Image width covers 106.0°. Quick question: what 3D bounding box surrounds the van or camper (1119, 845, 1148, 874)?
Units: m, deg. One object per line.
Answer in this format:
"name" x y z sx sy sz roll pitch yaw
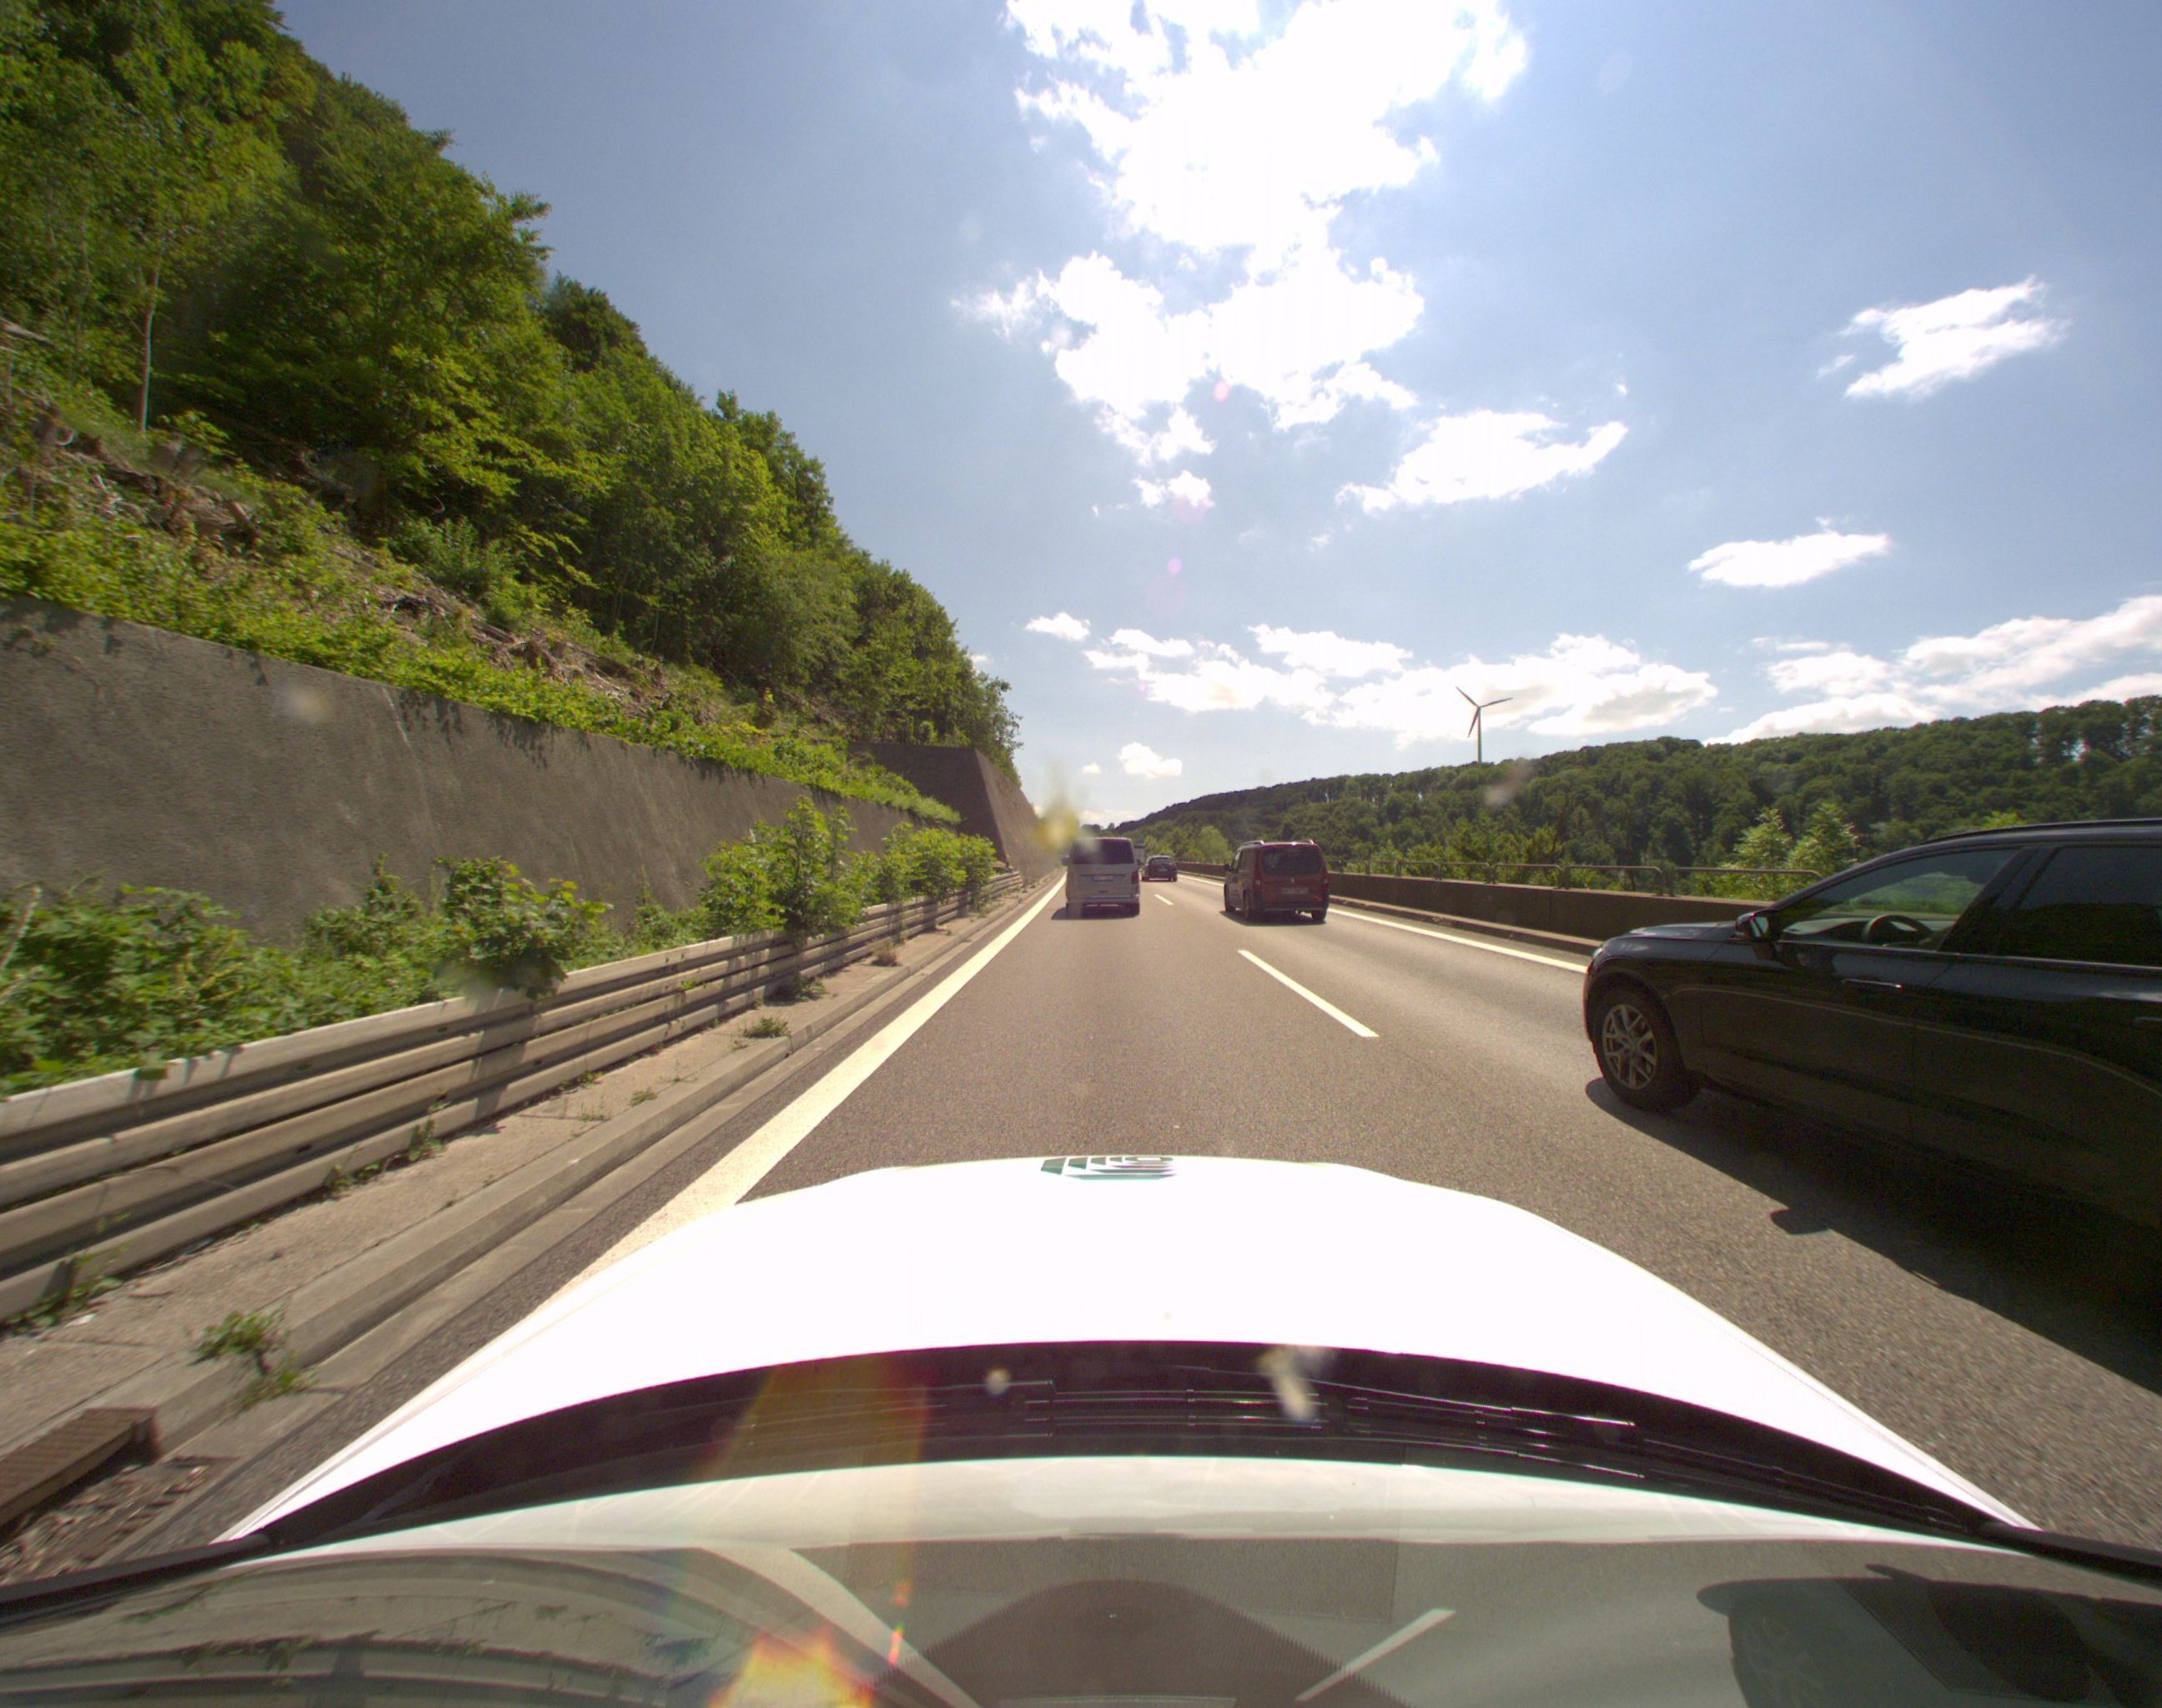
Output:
"van or camper" 4.774 0.501 75.220 2.257 2.551 4.735 -2 0 -1

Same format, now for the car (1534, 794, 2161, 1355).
"car" 4.086 0.645 3.450 1.828 1.633 4.663 0 0 1

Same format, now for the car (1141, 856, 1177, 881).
"car" 4.425 0.812 46.520 1.762 1.375 3.593 -1 0 1

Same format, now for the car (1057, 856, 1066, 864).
"car" -4.334 1.288 184.145 1.839 1.750 4.000 -1 0 0

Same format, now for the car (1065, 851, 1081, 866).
"car" -1.035 0.575 105.503 1.989 1.915 3.996 -1 0 -3

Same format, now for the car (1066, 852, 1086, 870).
"car" -0.567 0.725 86.609 1.989 1.817 3.996 0 0 -2

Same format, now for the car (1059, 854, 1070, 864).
"car" -3.359 1.082 165.275 1.987 2.014 3.999 -2 -1 0

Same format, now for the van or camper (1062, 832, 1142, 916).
"van or camper" 0.551 0.507 21.808 1.869 1.949 4.294 -2 -1 1

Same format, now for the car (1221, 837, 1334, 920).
"car" 4.673 0.557 20.054 1.826 1.784 4.679 -1 -1 3

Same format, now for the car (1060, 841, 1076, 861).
"car" -3.346 -0.777 211.304 4.031 4.871 10.105 -1 0 -1
